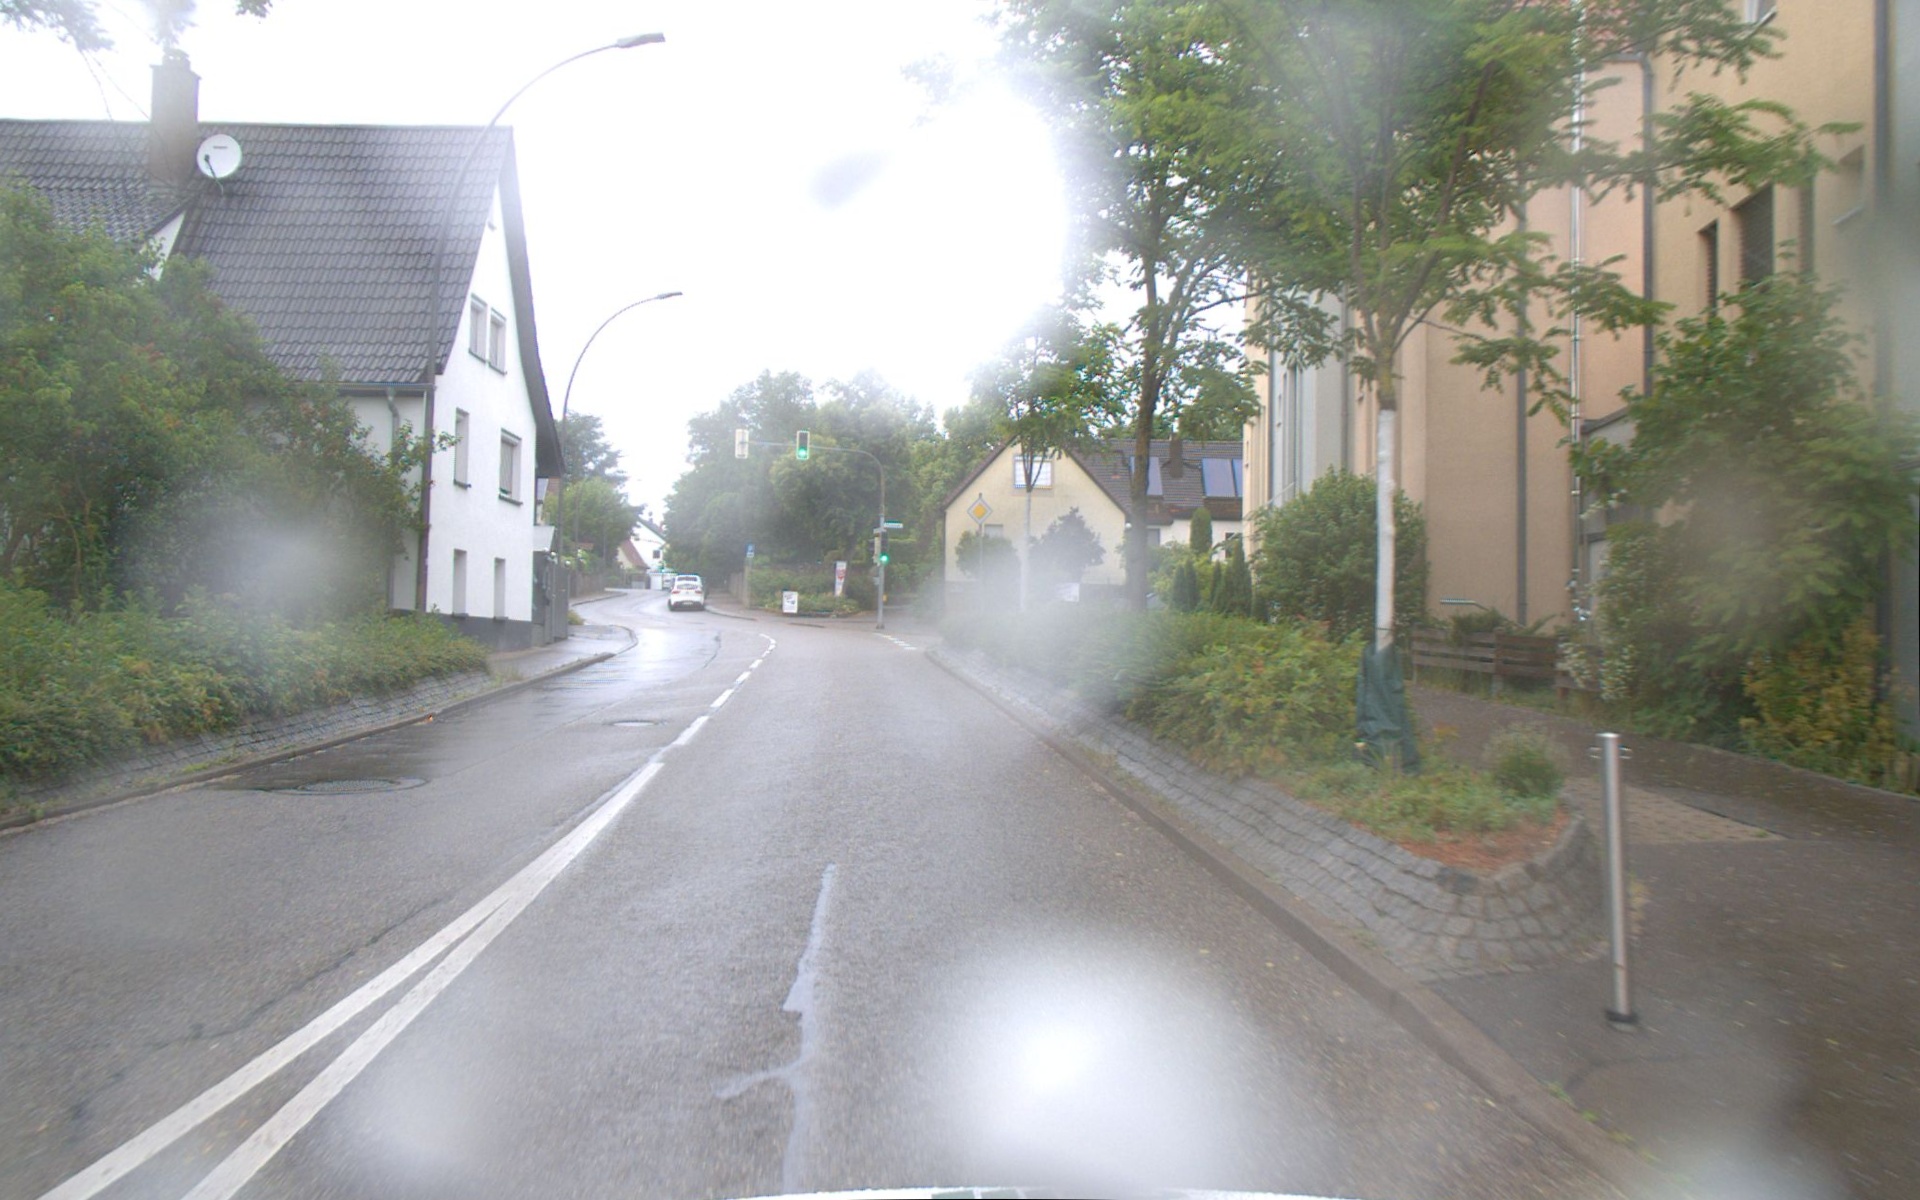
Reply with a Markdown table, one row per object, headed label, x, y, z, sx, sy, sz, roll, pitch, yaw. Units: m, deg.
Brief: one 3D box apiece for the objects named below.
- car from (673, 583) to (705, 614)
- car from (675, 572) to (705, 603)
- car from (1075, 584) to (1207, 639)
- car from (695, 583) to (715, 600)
| label | x | y | z | sx | sy | sz | roll | pitch | yaw |
| --- | --- | --- | --- | --- | --- | --- | --- | --- | --- |
| car | -14.065 | -0.093 | 85.706 | 1.582 | 1.506 | 4.028 | 1 | 0 | -10 |
| car | -15.741 | -0.726 | 96.512 | 1.606 | 1.771 | 4.128 | 1 | 0 | -8 |
| car | 5.740 | 0.370 | 52.349 | 4.044 | 1.613 | 1.865 | 1 | -1 | 7 |
| car | -22.198 | -0.762 | 144.130 | 1.622 | 1.395 | 4.171 | 1 | 0 | -10 |
